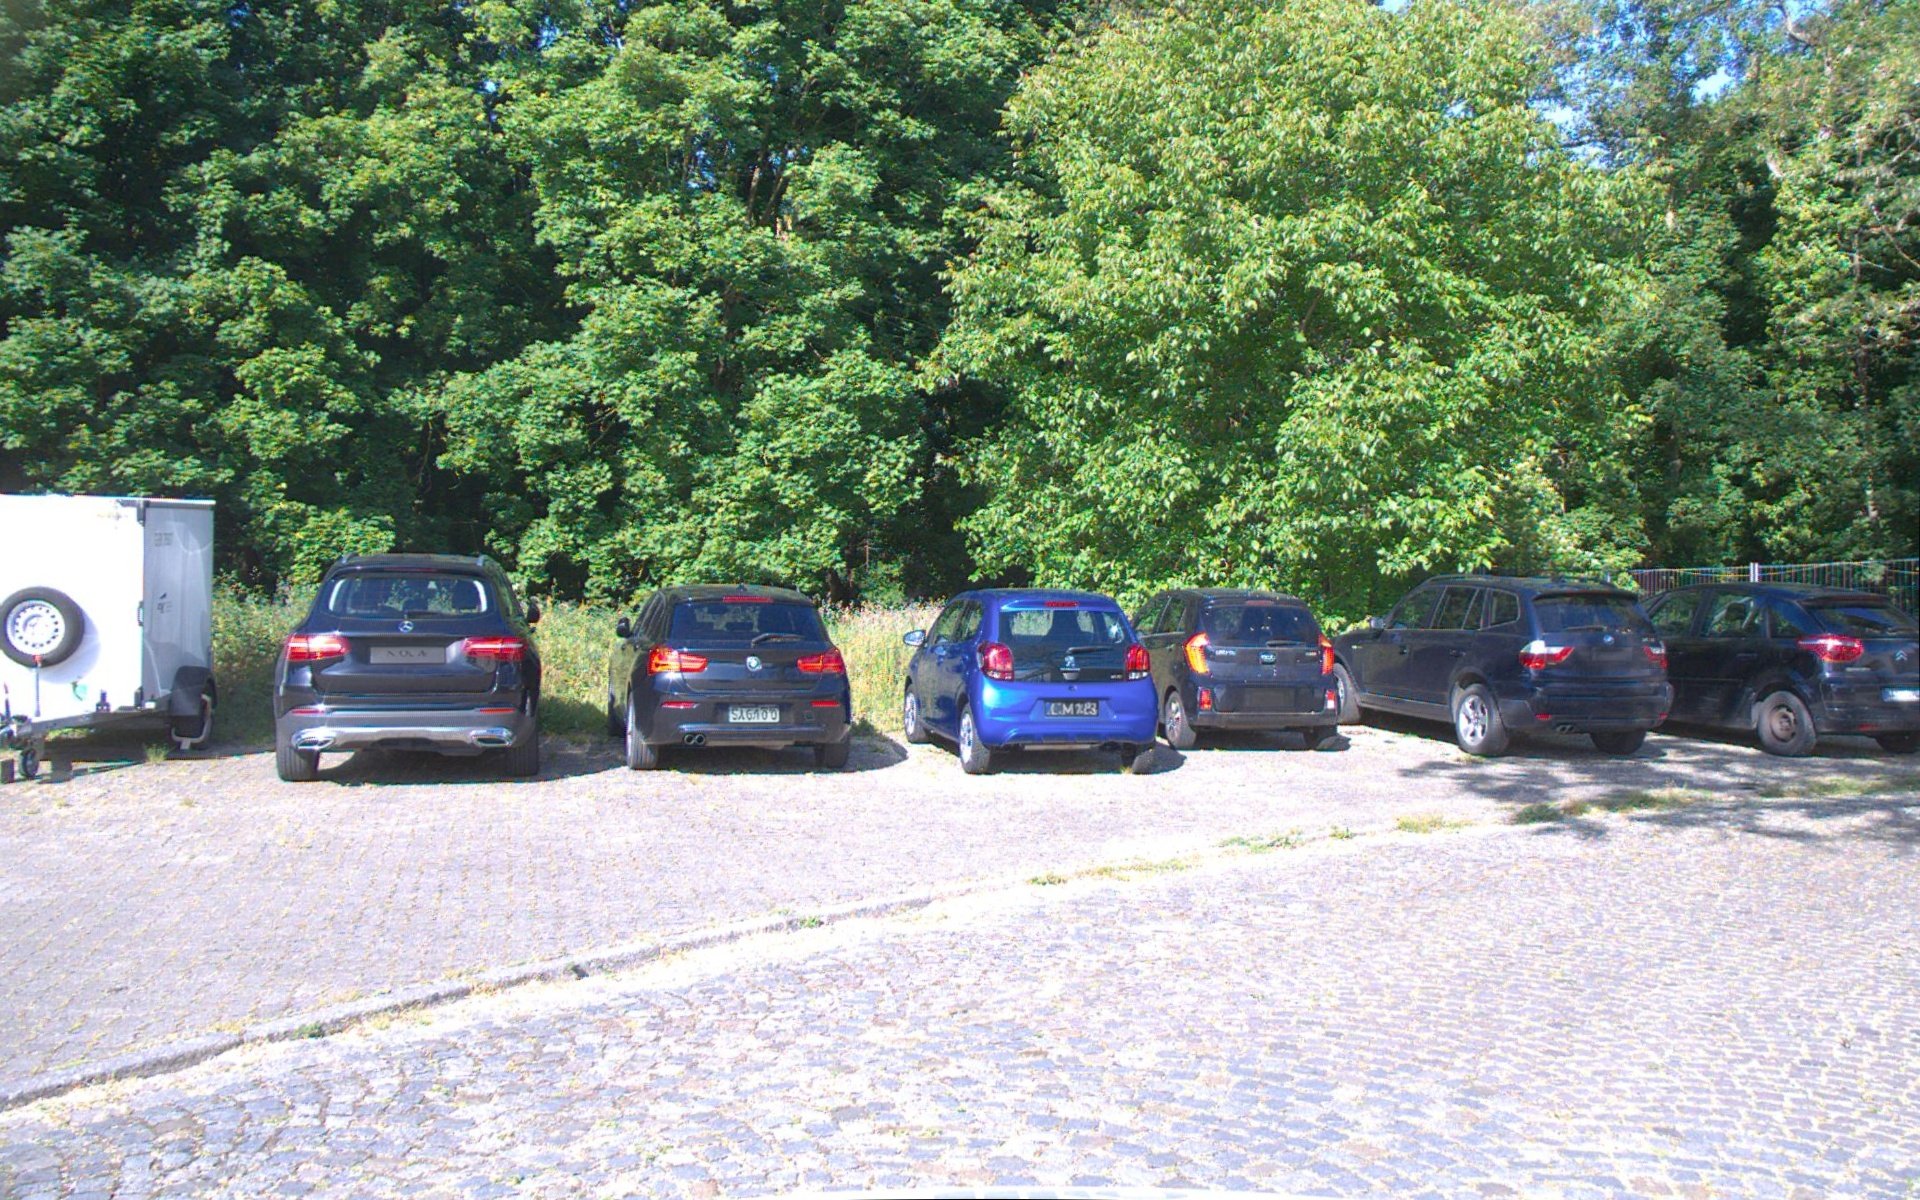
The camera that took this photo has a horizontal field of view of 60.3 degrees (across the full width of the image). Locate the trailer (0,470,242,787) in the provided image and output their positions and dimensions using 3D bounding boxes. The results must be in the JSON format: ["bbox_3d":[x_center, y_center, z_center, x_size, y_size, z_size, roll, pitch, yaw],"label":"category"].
[{"bbox_3d":[-6.901,0.133,13.049,1.606,2.130,3.959,0,2,-14],"label":"trailer"}]

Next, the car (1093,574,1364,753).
[{"bbox_3d":[2.574,0.548,16.681,1.642,1.542,3.544,1,2,-9],"label":"car"}]

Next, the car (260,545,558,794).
[{"bbox_3d":[-4.198,0.444,13.156,1.829,1.670,3.809,0,1,-12],"label":"car"}]

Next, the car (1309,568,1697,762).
[{"bbox_3d":[5.365,0.541,16.987,1.782,1.685,4.174,0,2,-15],"label":"car"}]

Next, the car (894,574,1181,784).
[{"bbox_3d":[0.552,0.588,14.789,1.679,1.519,3.653,0,2,-12],"label":"car"}]

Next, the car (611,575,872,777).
[{"bbox_3d":[-1.981,0.536,14.082,1.797,1.476,3.650,0,1,-14],"label":"car"}]

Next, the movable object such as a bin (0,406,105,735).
[{"bbox_3d":[-9.827,-0.276,15.267,1.957,3.018,5.152,0,0,-10],"label":"movable object such as a bin"}]

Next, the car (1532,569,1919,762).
[{"bbox_3d":[8.292,0.570,17.592,1.763,1.680,4.271,0,2,-23],"label":"car"}]
